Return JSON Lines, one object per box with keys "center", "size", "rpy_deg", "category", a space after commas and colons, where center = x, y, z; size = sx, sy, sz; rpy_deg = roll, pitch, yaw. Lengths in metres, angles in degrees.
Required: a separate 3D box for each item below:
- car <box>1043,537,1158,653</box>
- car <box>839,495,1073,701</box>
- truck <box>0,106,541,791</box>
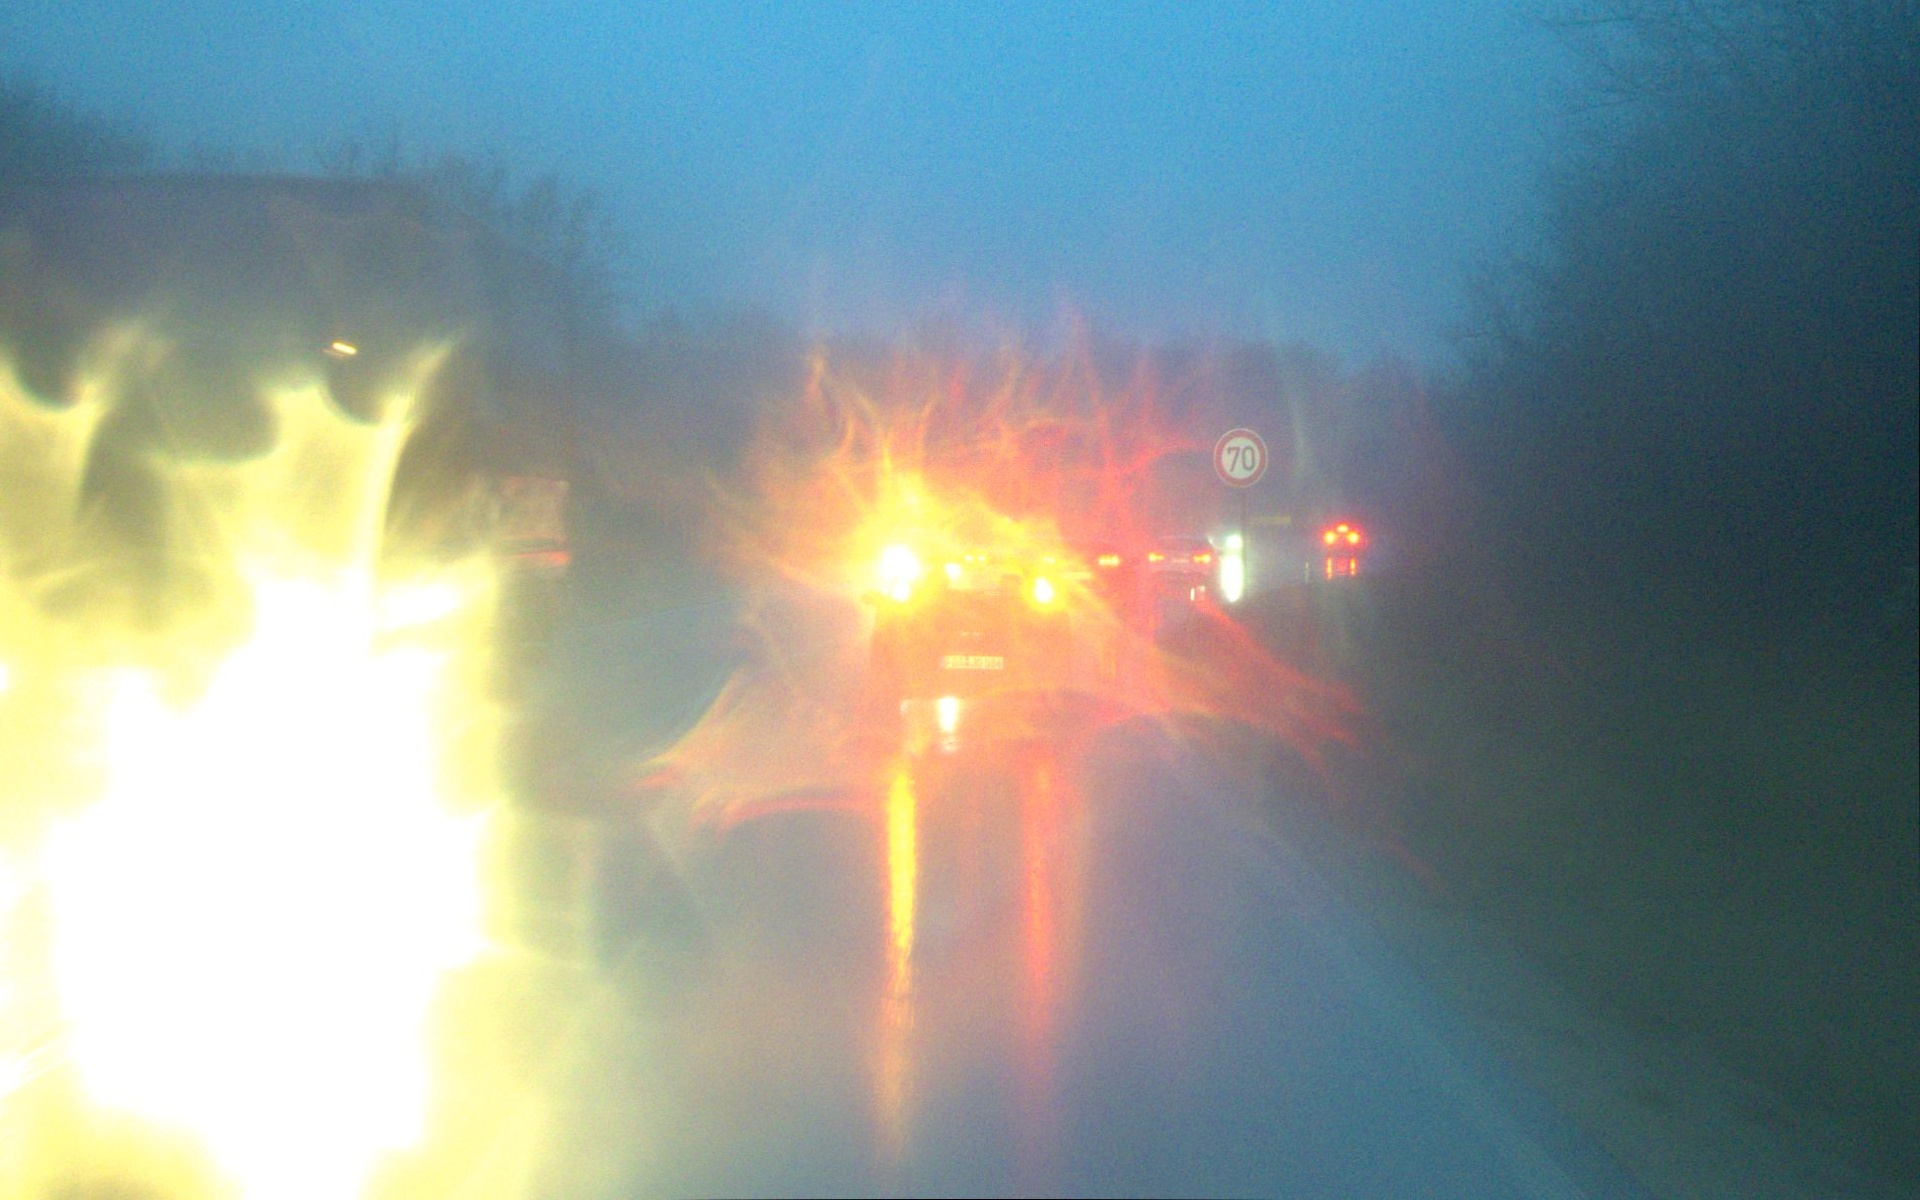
{"center": [2.602, -0.130, 62.733], "size": [1.994, 2.007, 4.000], "rpy_deg": [0, 1, 4], "category": "car"}
{"center": [-0.100, -0.070, 29.620], "size": [1.727, 1.637, 4.001], "rpy_deg": [-1, 1, -4], "category": "car"}
{"center": [-4.552, -0.931, 22.938], "size": [2.821, 3.703, 8.535], "rpy_deg": [-1, 1, -3], "category": "truck"}
